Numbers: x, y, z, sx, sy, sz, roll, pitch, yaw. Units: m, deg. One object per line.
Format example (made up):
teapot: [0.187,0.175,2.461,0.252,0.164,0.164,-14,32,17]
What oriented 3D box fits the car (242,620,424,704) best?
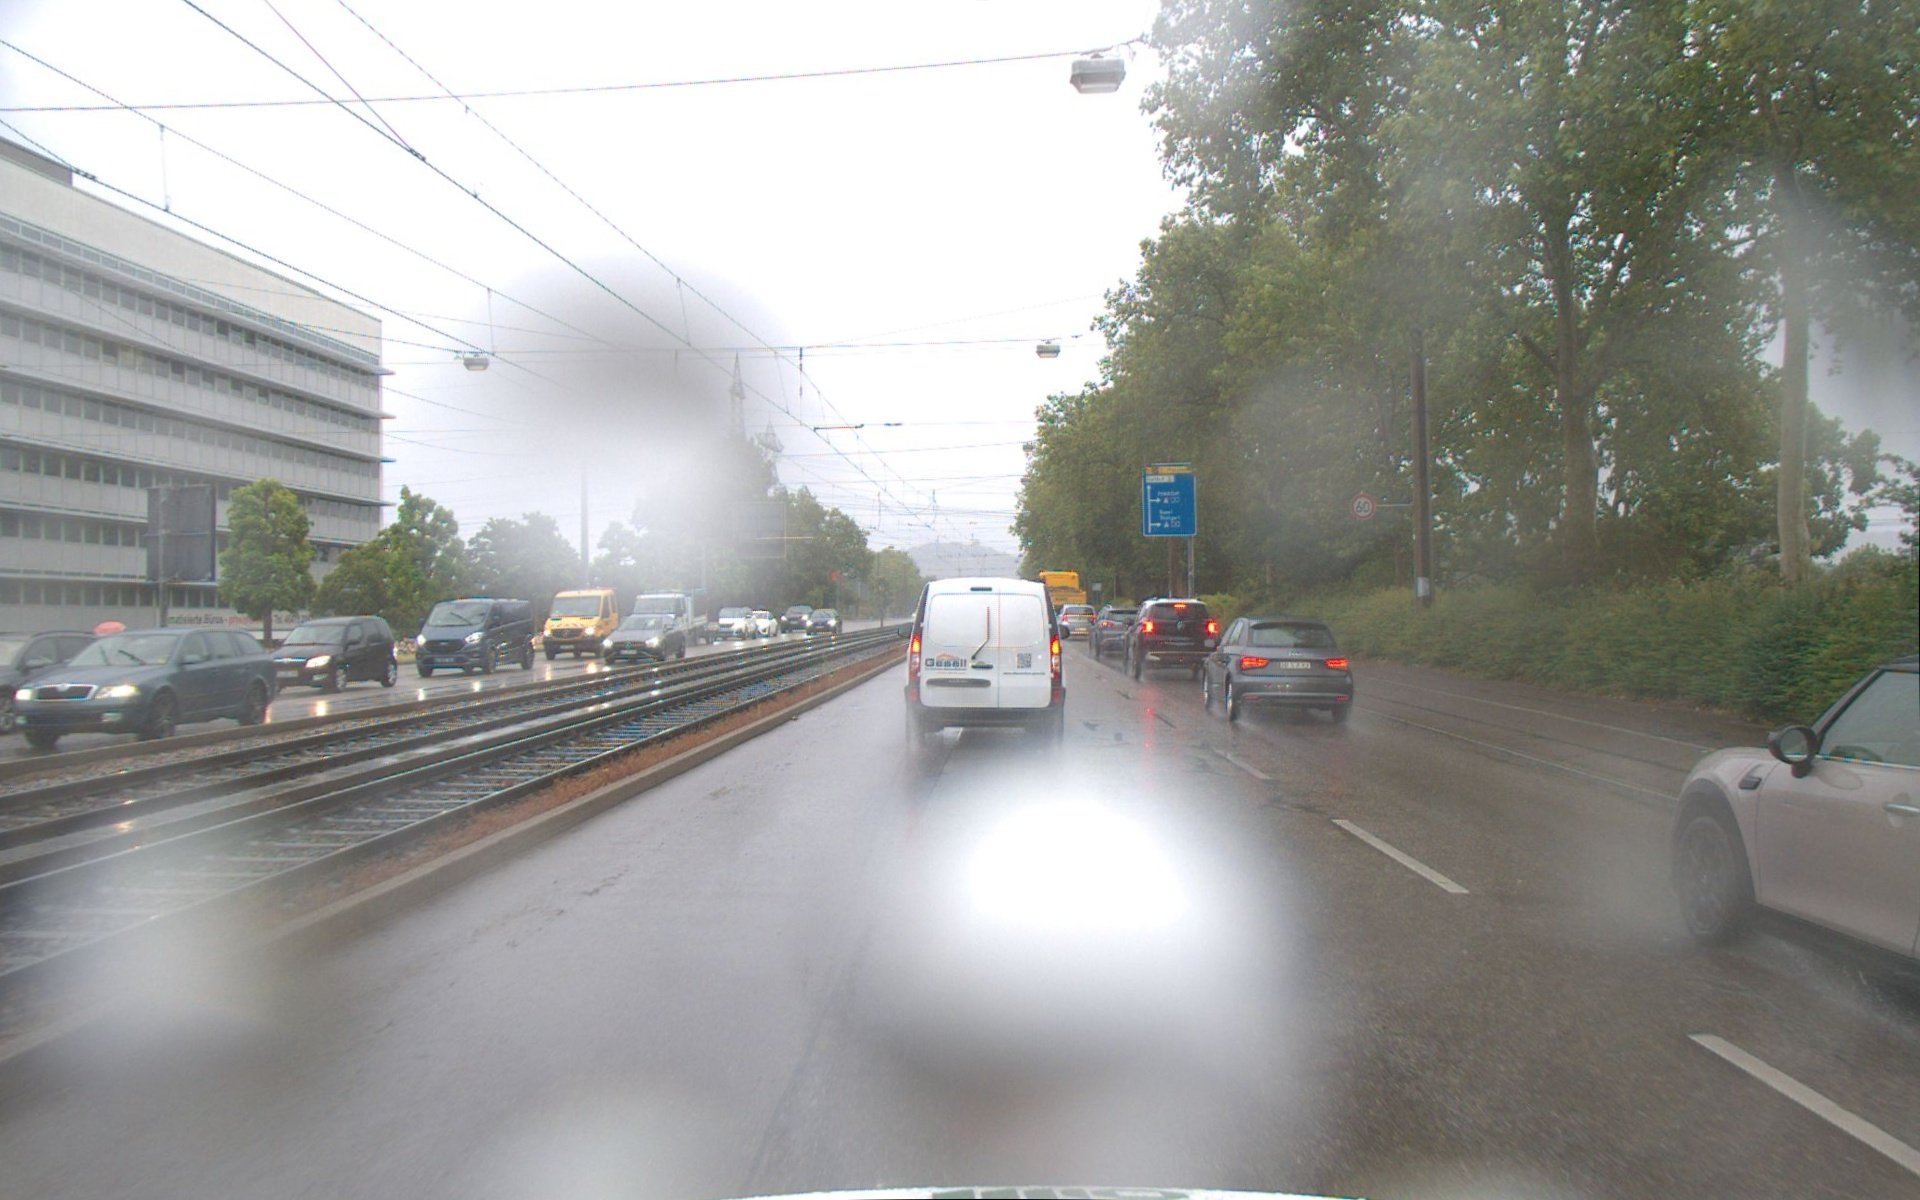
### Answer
car: [-13.649,1.304,36.344,1.819,1.646,4.910,-2,-1,4]

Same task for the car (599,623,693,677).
car: [-9.716,1.520,51.506,1.819,1.520,4.691,-2,-1,2]

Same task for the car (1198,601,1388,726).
car: [4.598,0.825,23.407,1.927,1.555,3.991,0,1,0]

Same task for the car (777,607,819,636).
car: [-10.366,1.342,106.241,1.952,1.751,4.883,-2,0,2]

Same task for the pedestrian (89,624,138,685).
pedestrian: [-25.450,1.625,49.746,0.805,1.793,1.050,2,-1,4]

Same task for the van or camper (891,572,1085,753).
van or camper: [0.276,0.604,18.844,1.953,1.816,4.000,1,1,0]

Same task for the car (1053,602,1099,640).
car: [4.714,0.846,67.350,1.780,1.438,3.780,0,1,3]

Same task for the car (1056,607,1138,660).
car: [3.969,0.942,48.456,1.782,1.438,3.775,0,1,-5]

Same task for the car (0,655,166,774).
car: [-14.251,1.715,25.182,1.923,1.543,4.555,-3,-1,2]

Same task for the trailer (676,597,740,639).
trailer: [-11.657,0.822,76.723,2.074,1.824,3.838,1,0,5]

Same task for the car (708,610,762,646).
car: [-11.367,1.376,83.775,1.734,1.712,4.691,1,0,4]

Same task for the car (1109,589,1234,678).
car: [4.420,0.646,35.258,1.861,1.747,4.723,0,1,-3]

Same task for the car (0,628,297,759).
car: [-10.974,1.184,22.323,1.952,1.482,4.673,-3,-1,2]

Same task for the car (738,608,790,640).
car: [-10.854,1.312,91.840,1.951,1.611,4.768,-2,0,4]

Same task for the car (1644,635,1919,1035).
car: [4.377,0.897,6.478,1.755,1.439,3.853,2,-1,0]

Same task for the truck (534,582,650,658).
truck: [-12.940,0.681,58.550,2.180,2.505,6.070,1,0,5]

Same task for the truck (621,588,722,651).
truck: [-12.249,0.807,70.753,2.383,2.501,7.223,1,0,5]

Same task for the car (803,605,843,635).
car: [-7.927,1.154,96.119,1.781,1.651,4.537,-1,0,2]

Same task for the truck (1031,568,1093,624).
truck: [5.320,-0.201,87.033,3.048,2.822,6.330,0,0,2]

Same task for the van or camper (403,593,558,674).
van or camper: [-13.167,0.878,45.860,2.256,2.049,5.688,1,0,4]
